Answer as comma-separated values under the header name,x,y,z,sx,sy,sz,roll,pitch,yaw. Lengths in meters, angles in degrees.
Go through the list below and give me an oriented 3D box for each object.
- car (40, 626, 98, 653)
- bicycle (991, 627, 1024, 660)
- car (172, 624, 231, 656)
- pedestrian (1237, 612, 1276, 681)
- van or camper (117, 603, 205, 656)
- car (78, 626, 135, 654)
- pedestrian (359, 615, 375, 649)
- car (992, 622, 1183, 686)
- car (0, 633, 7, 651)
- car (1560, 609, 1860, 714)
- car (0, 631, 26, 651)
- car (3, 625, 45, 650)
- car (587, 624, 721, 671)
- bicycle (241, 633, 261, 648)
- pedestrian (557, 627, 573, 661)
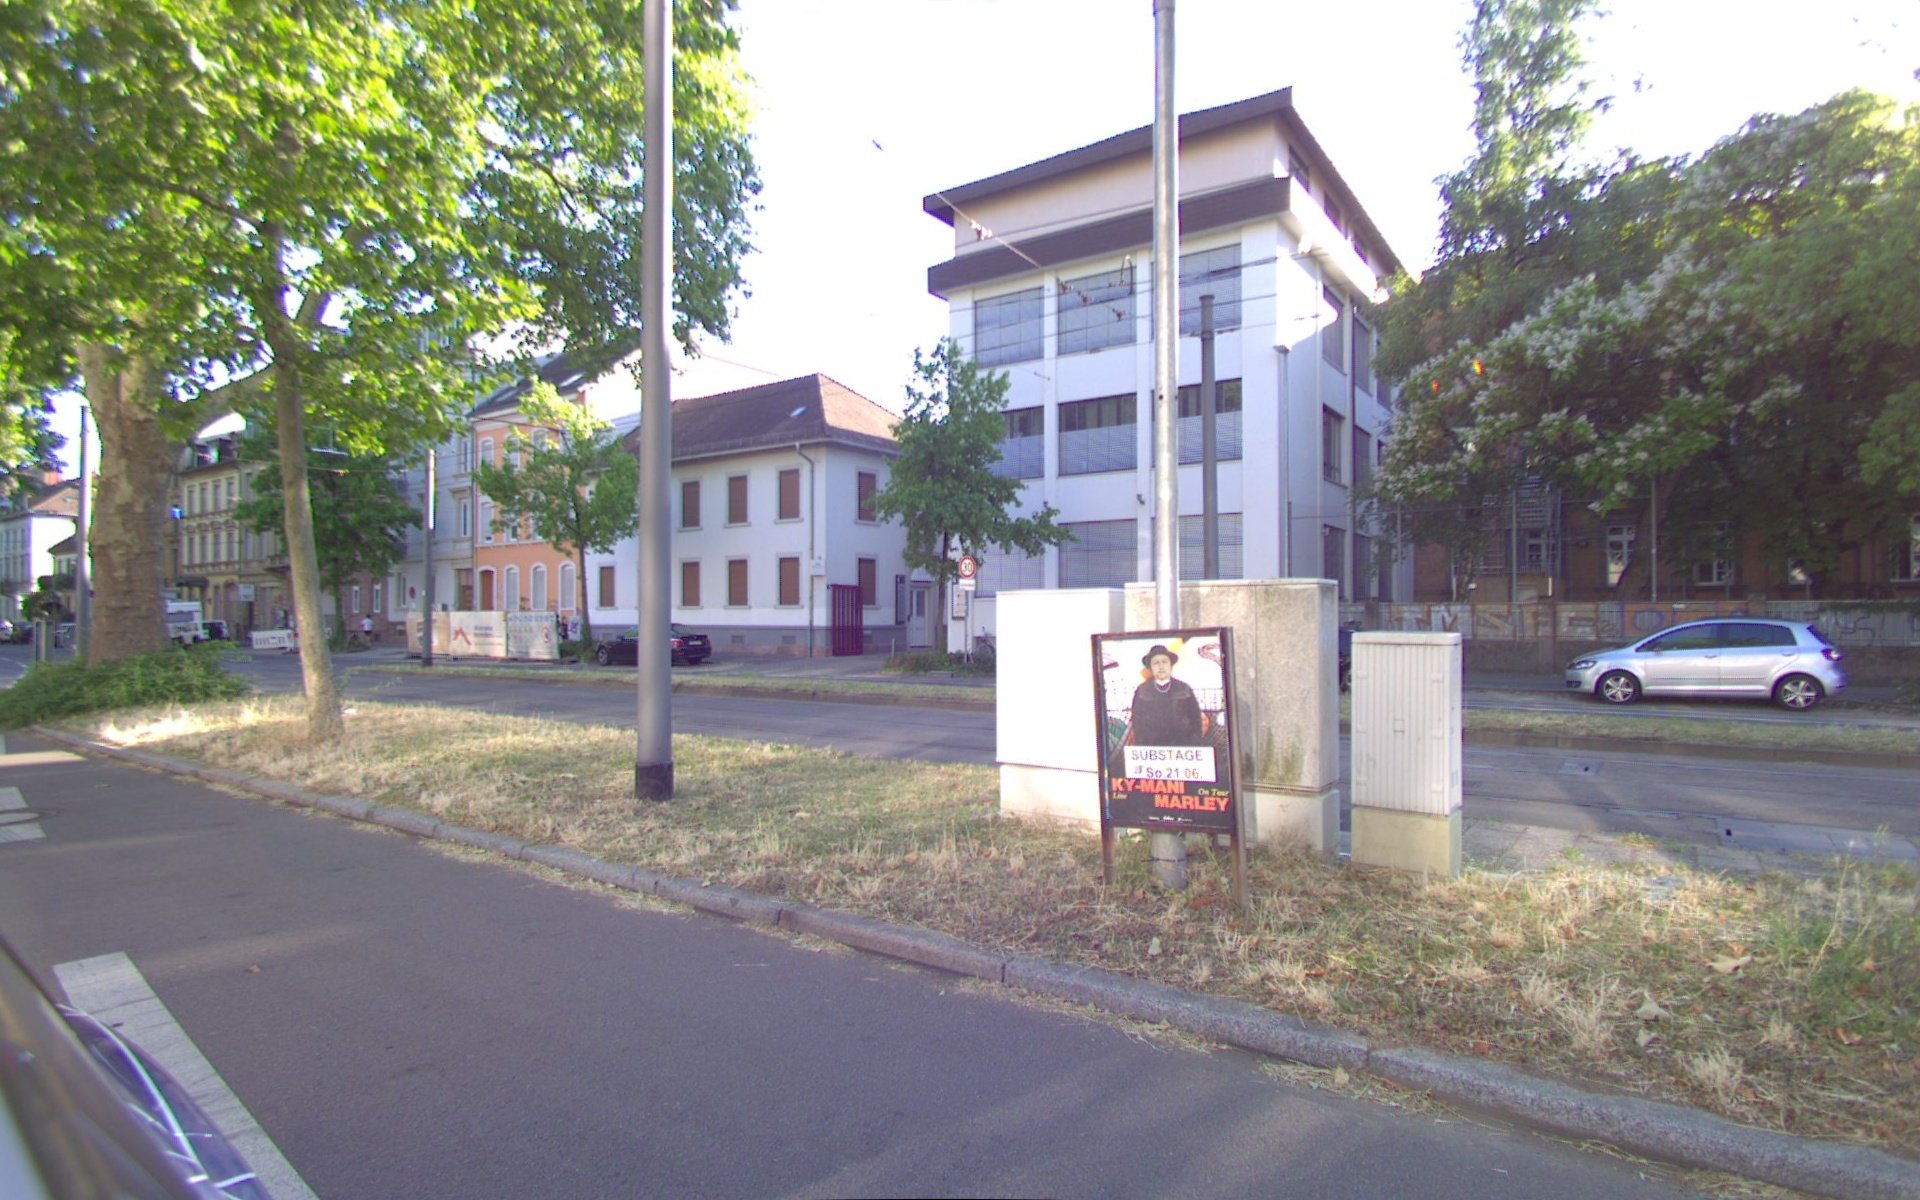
name,x,y,z,sx,sy,sz,roll,pitch,yaw
car,-63.225,2.770,71.767,4.739,1.715,1.977,-1,2,35
bicycle,1.495,1.374,31.928,1.016,1.010,0.300,-1,-2,35
car,-43.897,2.288,58.547,3.361,1.718,1.618,-1,1,33
pedestrian,7.213,1.120,24.600,0.730,1.633,0.630,-1,-1,34
van or camper,-49.159,1.780,62.176,7.238,2.969,2.397,-1,2,37
car,-57.155,2.643,67.756,4.432,1.718,1.795,-1,2,35
pedestrian,-32.336,1.744,55.147,0.480,1.832,0.592,-1,-2,36
car,3.173,1.309,25.596,4.394,1.482,1.977,-1,-2,34
car,-81.193,3.503,84.455,4.460,1.502,1.569,-1,0,35
car,13.447,1.062,18.474,4.167,1.702,1.977,-1,-2,34
car,-76.780,3.270,81.323,4.394,1.465,1.649,-1,1,35
car,-73.058,2.912,78.993,3.619,1.759,1.709,-1,1,36
car,-10.606,1.614,35.007,4.714,1.525,1.976,-1,-2,35
bicycle,-44.844,2.547,64.019,1.789,0.931,0.573,-1,-2,38
pedestrian,-16.837,1.861,43.112,0.470,1.428,0.453,-1,-2,29
